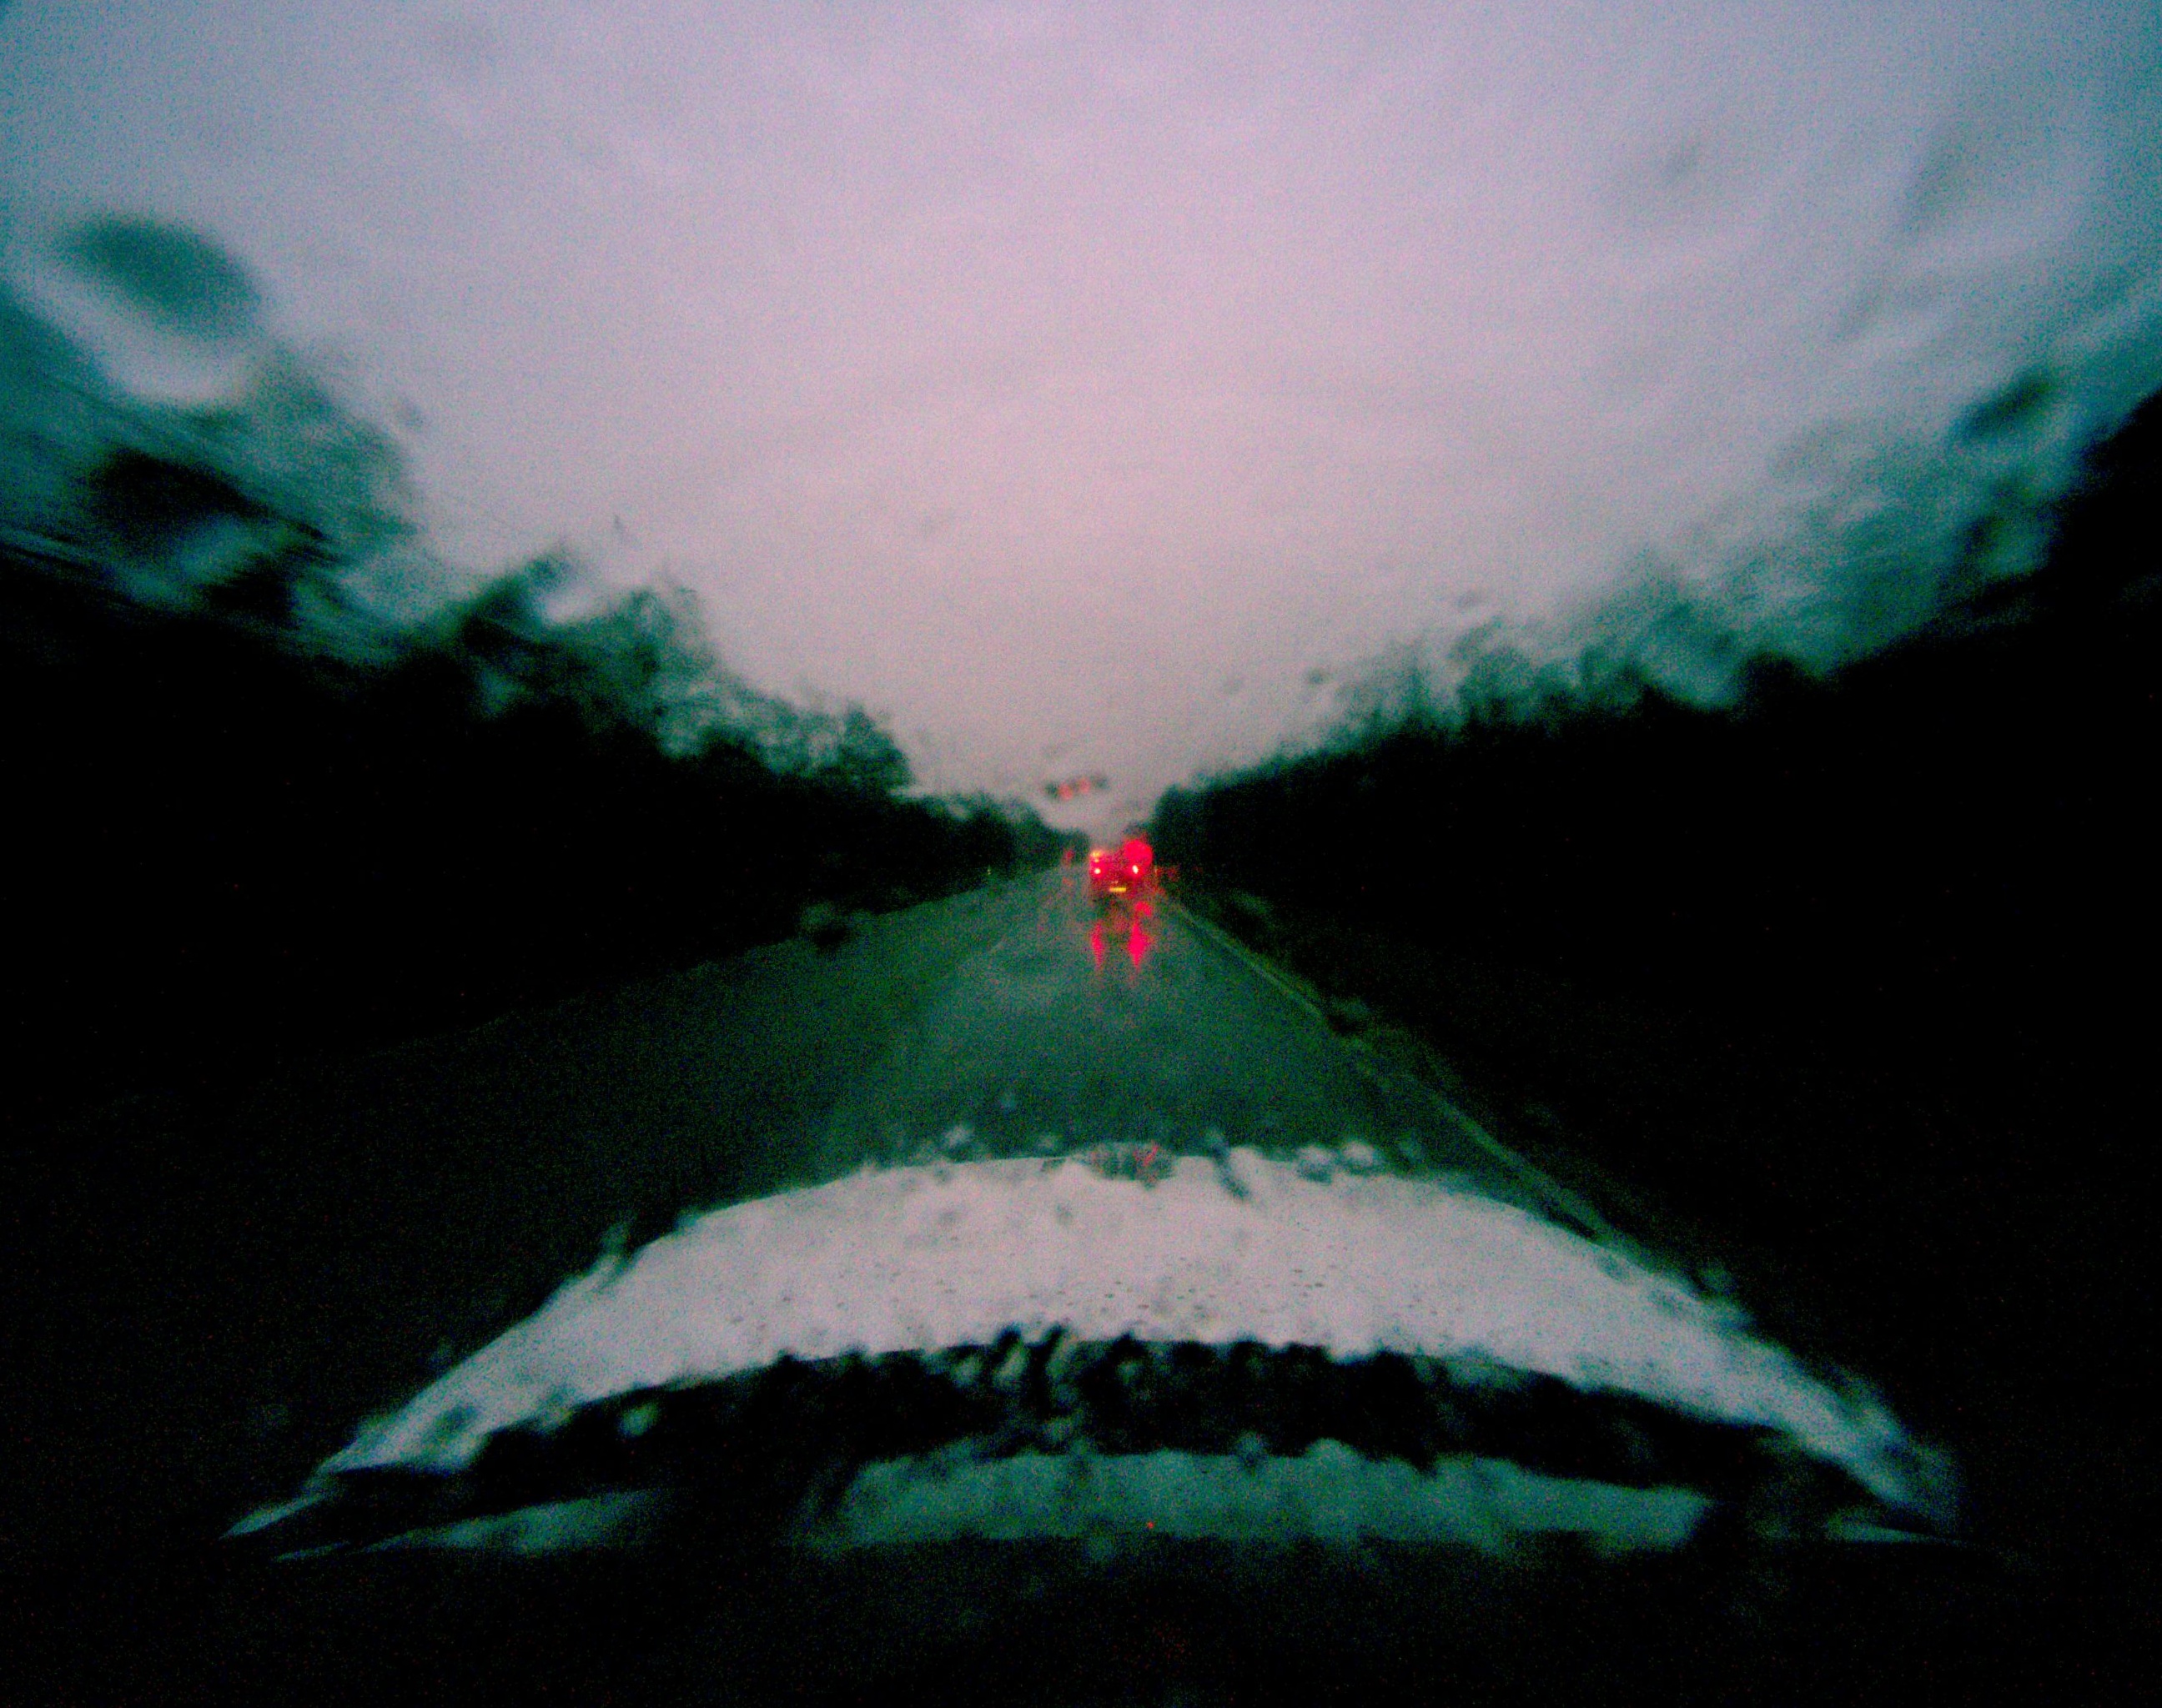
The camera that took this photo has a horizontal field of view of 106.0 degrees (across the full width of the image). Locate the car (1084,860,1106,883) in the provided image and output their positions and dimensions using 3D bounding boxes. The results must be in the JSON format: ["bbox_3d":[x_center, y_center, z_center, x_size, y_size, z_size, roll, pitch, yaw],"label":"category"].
[{"bbox_3d":[1.164,1.386,66.170,1.727,1.779,4.001,0,0,1],"label":"car"}]

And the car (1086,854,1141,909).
[{"bbox_3d":[1.038,0.833,26.279,1.642,1.672,3.515,0,0,2],"label":"car"}]
